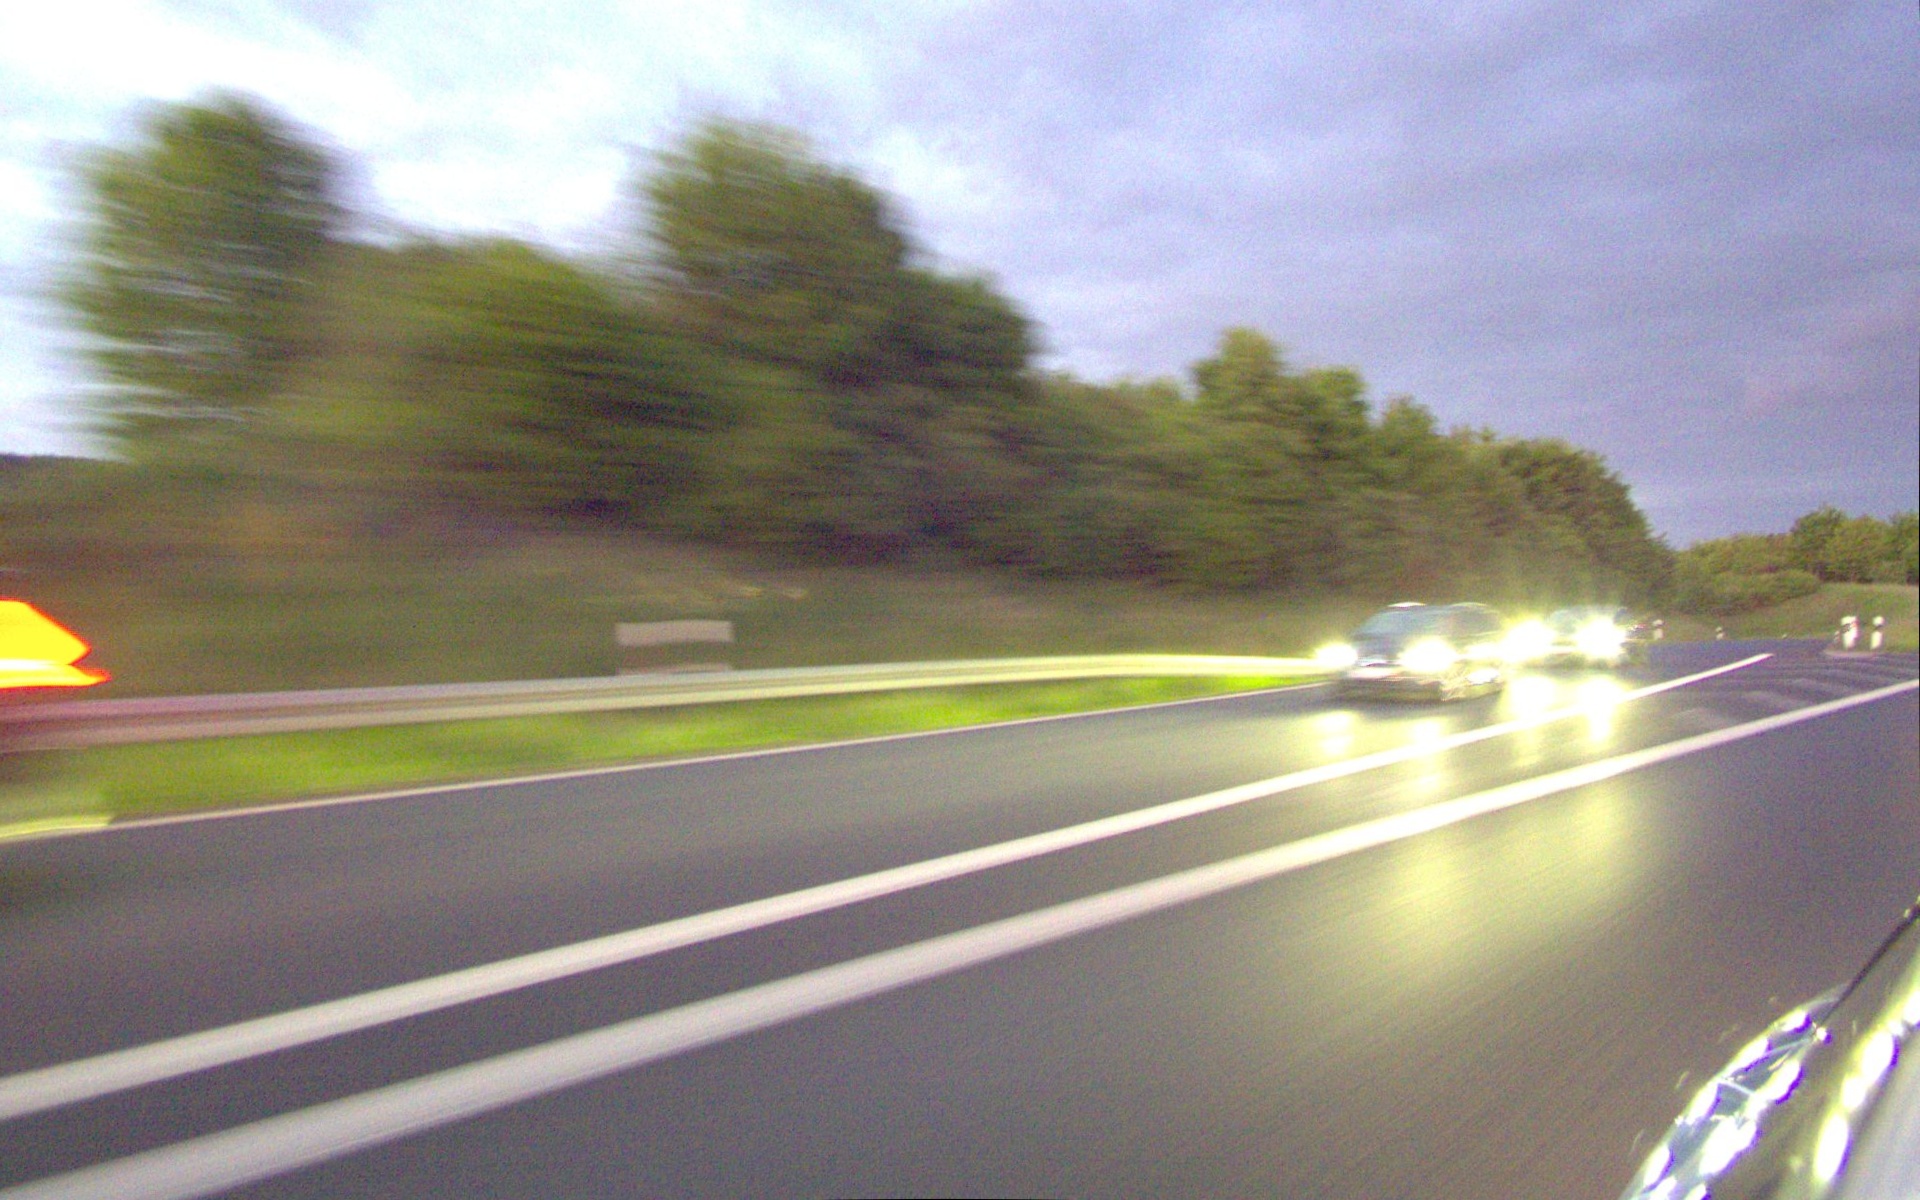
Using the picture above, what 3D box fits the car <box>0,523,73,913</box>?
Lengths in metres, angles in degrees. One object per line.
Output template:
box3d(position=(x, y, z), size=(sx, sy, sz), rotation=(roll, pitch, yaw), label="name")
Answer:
box3d(position=(-6.382, 0.516, 3.405), size=(5.073, 1.666, 1.800), rotation=(0, 0, -43), label="car")

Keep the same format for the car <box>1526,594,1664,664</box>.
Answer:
box3d(position=(15.129, 0.663, 24.020), size=(1.798, 1.511, 4.364), rotation=(-4, -2, 45), label="car")

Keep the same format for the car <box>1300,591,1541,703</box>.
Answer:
box3d(position=(7.460, 0.659, 16.099), size=(1.798, 1.511, 5.034), rotation=(-4, -2, 45), label="car")
